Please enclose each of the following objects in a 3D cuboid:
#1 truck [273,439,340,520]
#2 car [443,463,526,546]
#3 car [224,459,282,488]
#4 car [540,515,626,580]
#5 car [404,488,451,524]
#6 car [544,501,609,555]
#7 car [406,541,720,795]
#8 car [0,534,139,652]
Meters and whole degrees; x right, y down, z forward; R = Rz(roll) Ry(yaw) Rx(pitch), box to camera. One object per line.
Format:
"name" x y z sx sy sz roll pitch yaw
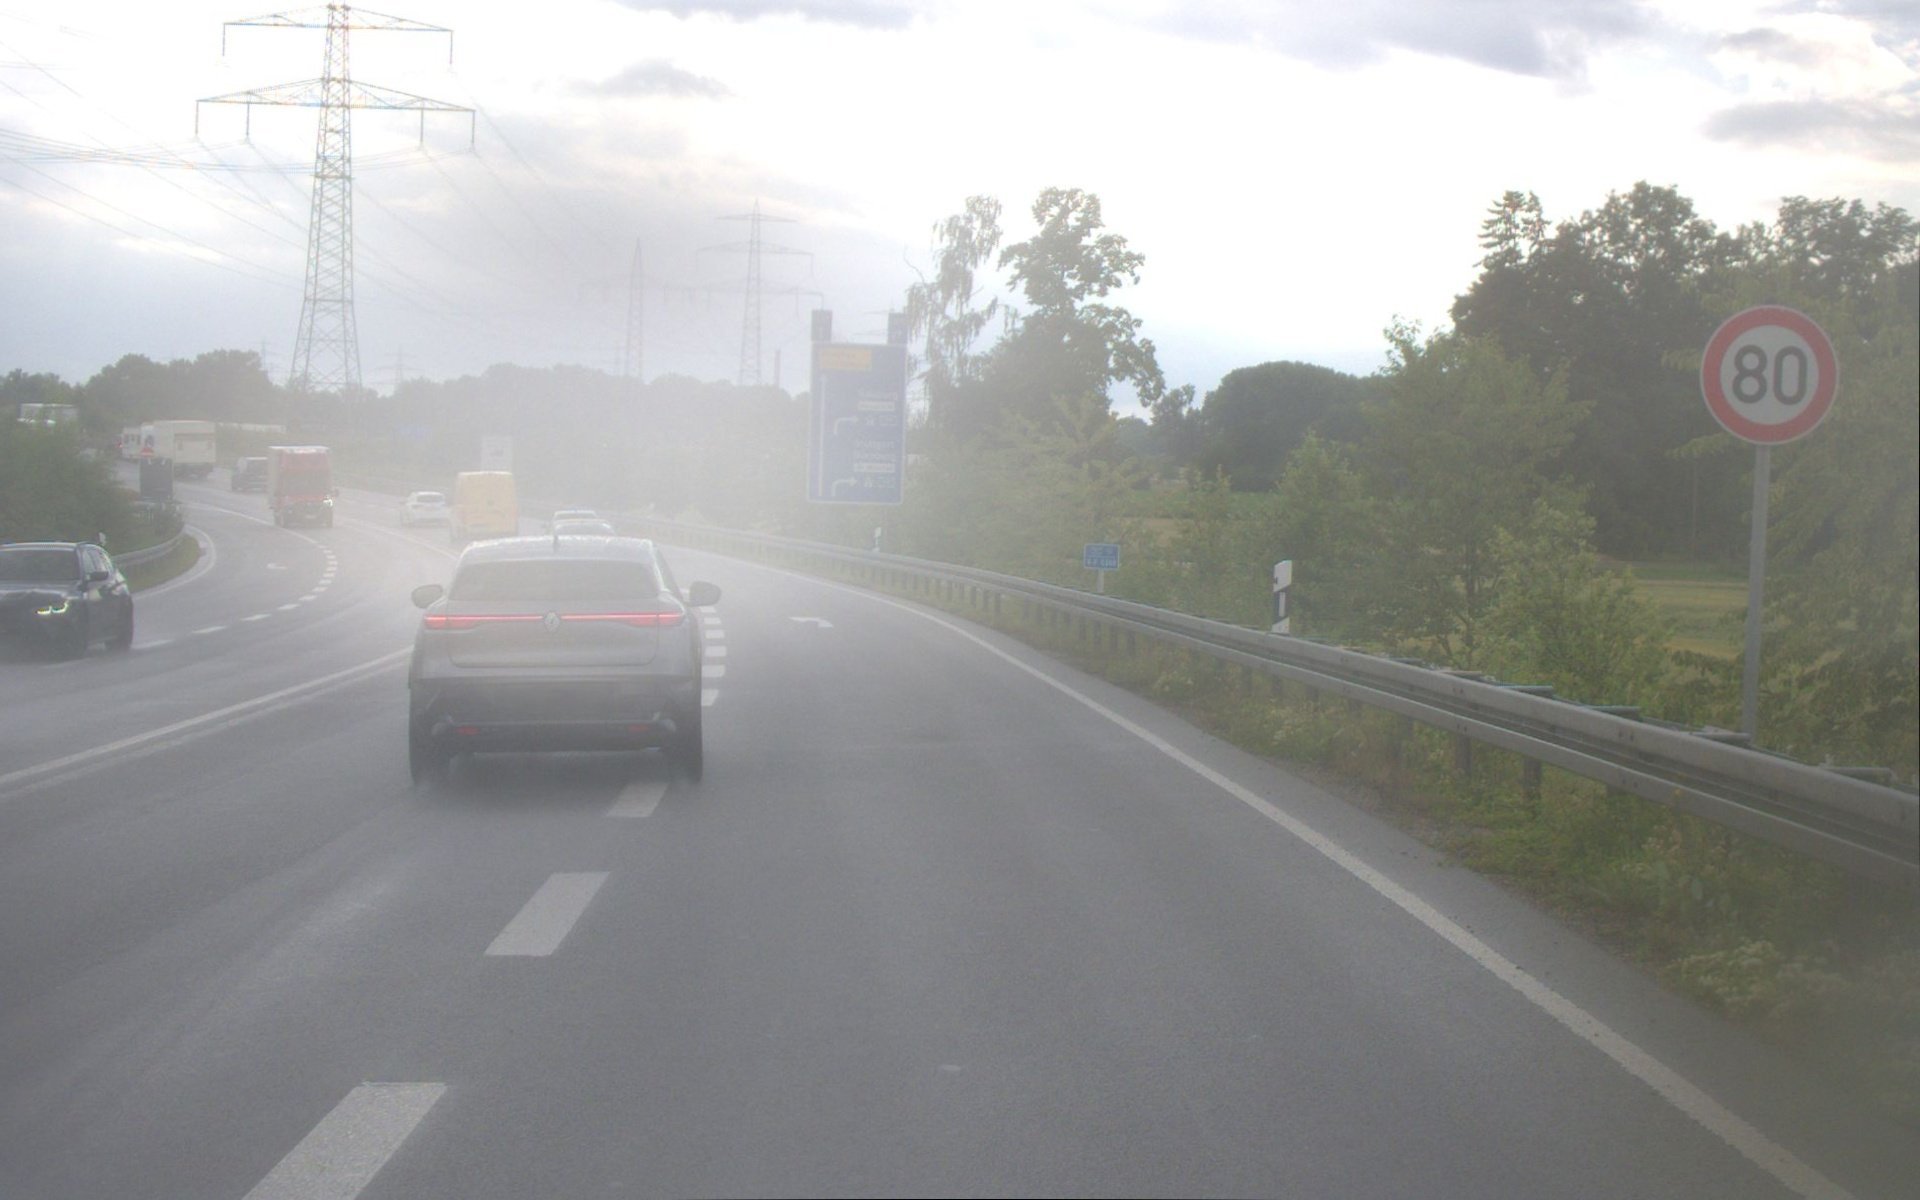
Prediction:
"truck" -27.454 -5.060 144.177 2.480 3.280 7.283 -2 2 -12
"car" -16.456 -3.297 119.254 2.572 2.716 7.198 2 1 -6
"car" -39.608 -7.080 192.459 1.791 1.436 4.000 3 1 -33
"car" -8.720 -1.237 79.364 1.791 1.436 4.001 -1 2 -8
"car" -22.062 -3.900 142.402 1.791 1.436 4.001 1 1 -10
"car" -11.134 -2.117 99.992 1.791 1.536 4.001 0 2 -5
"car" -2.511 0.358 21.994 1.791 1.436 4.001 -1 1 -6
"car" -11.953 -0.124 44.337 1.895 1.436 4.901 -1 1 -4
